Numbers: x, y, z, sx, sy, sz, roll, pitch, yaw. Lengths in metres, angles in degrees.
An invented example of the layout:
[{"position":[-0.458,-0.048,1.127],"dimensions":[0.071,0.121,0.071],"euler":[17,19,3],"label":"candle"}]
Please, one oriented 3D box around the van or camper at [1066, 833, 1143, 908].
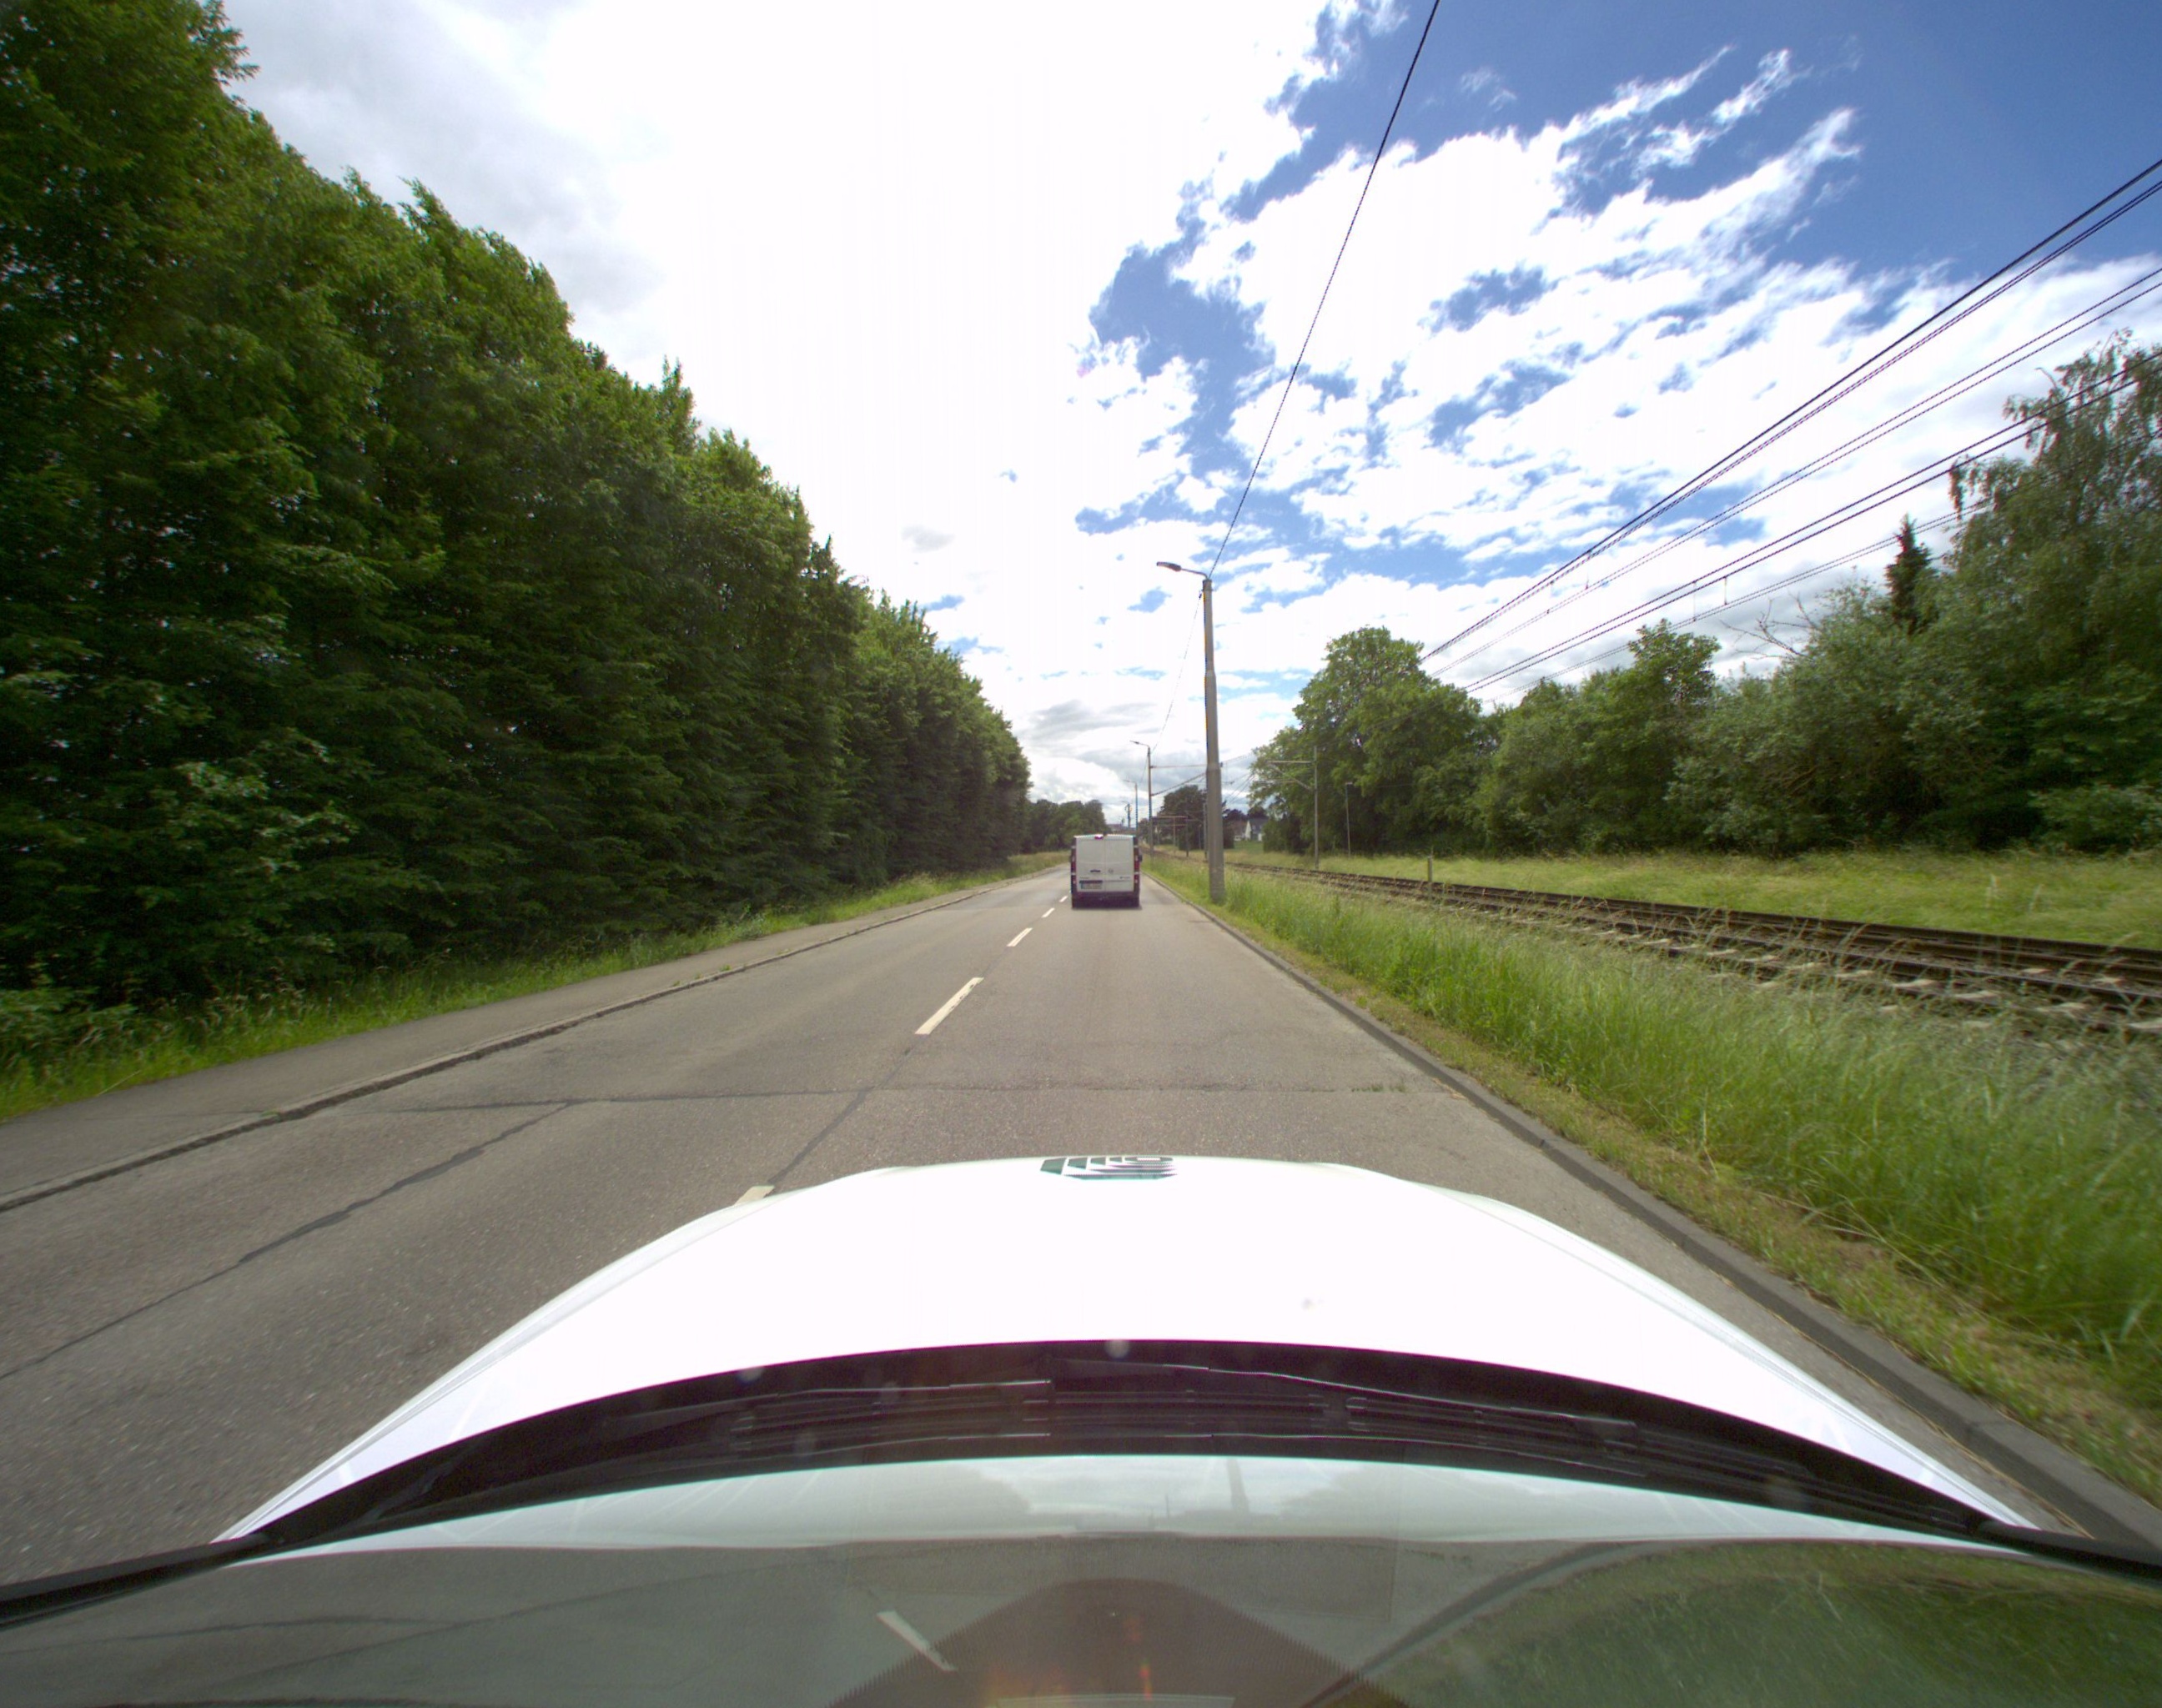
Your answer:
[{"position":[0.754,0.457,23.309],"dimensions":[1.933,1.897,4.289],"euler":[-2,-1,4],"label":"van or camper"}]
